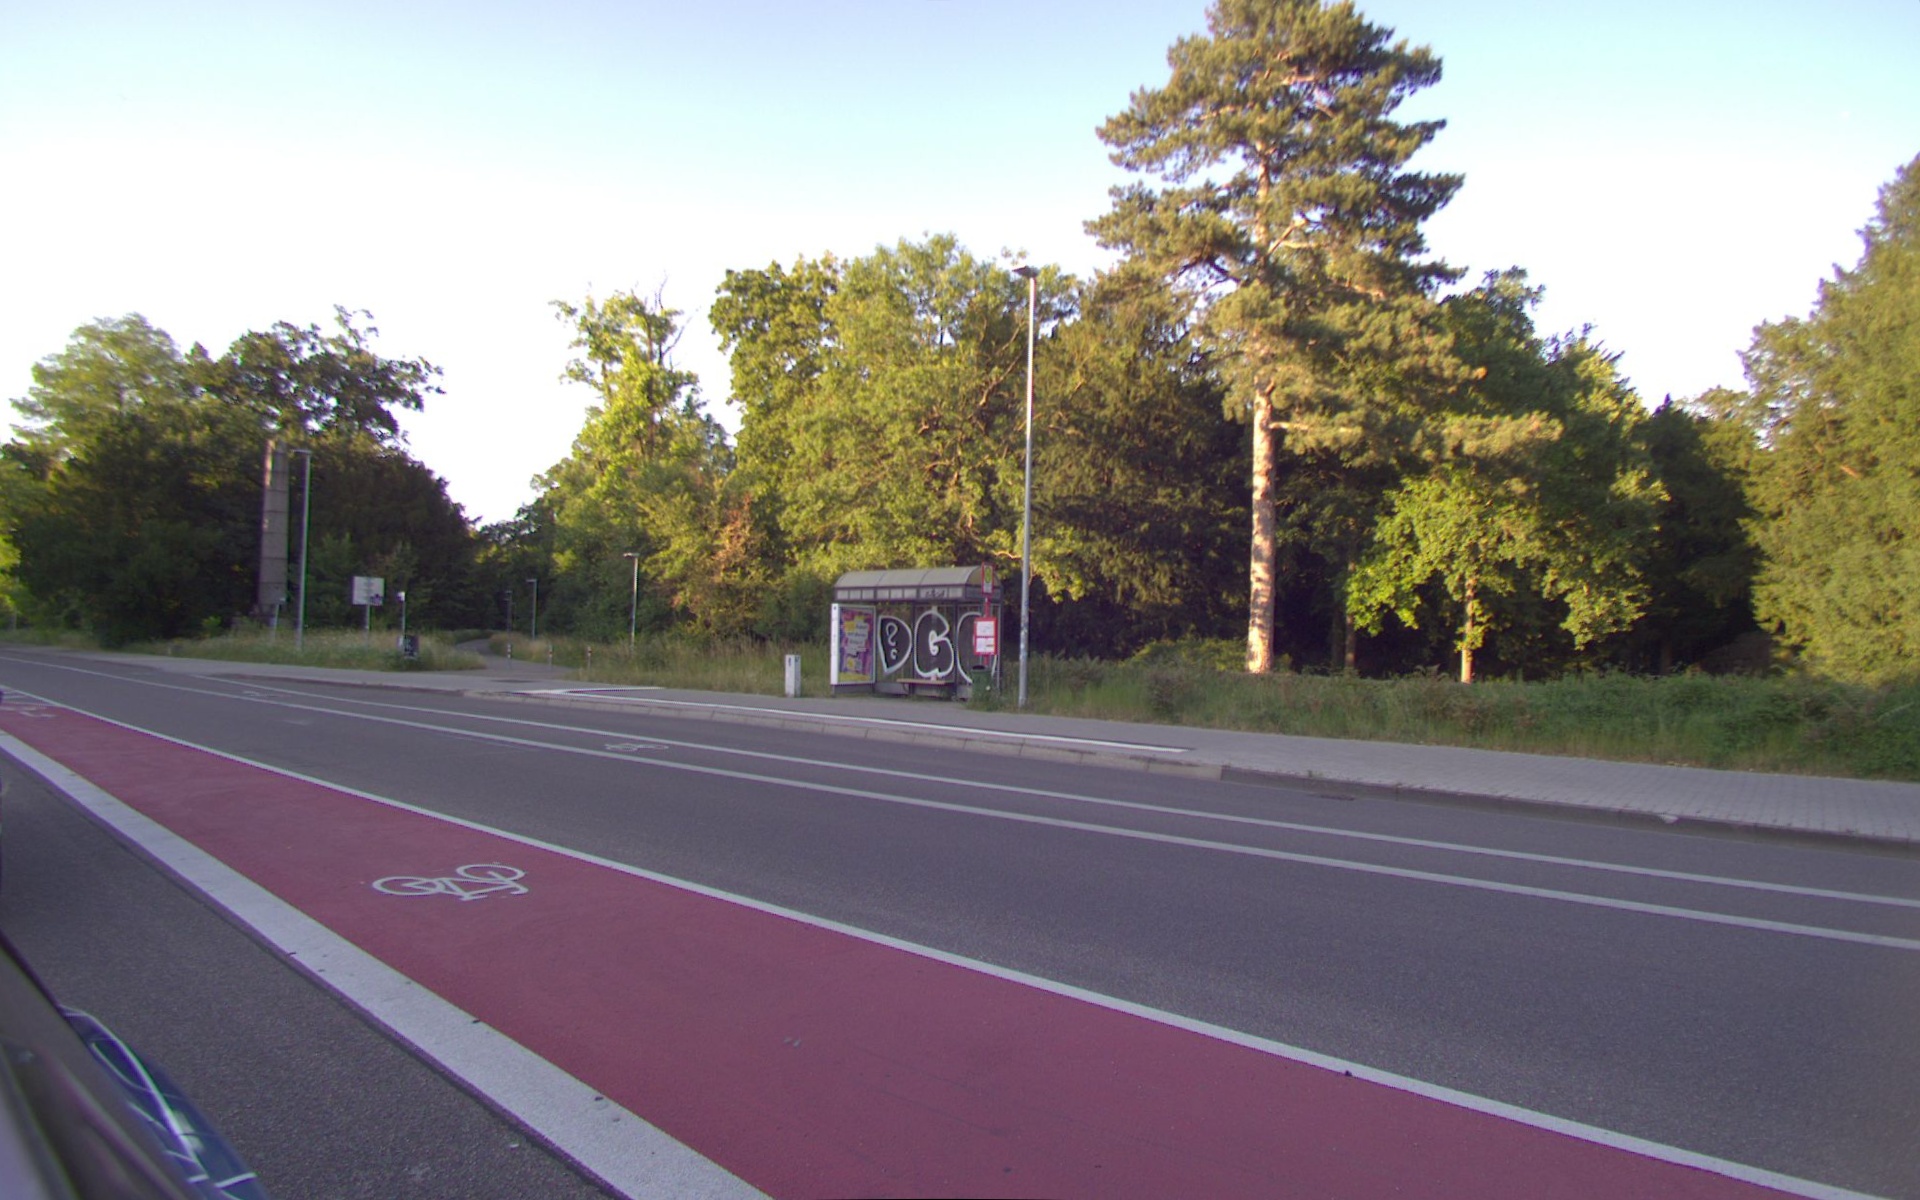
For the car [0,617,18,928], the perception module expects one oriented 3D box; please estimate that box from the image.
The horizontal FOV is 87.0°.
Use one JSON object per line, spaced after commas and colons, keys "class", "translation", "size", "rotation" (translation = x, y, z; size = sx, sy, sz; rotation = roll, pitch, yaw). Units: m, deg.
{"class": "car", "translation": [-6.879, 0.833, 5.655], "size": [5.210, 1.410, 1.795], "rotation": [-1, 0, 41]}
